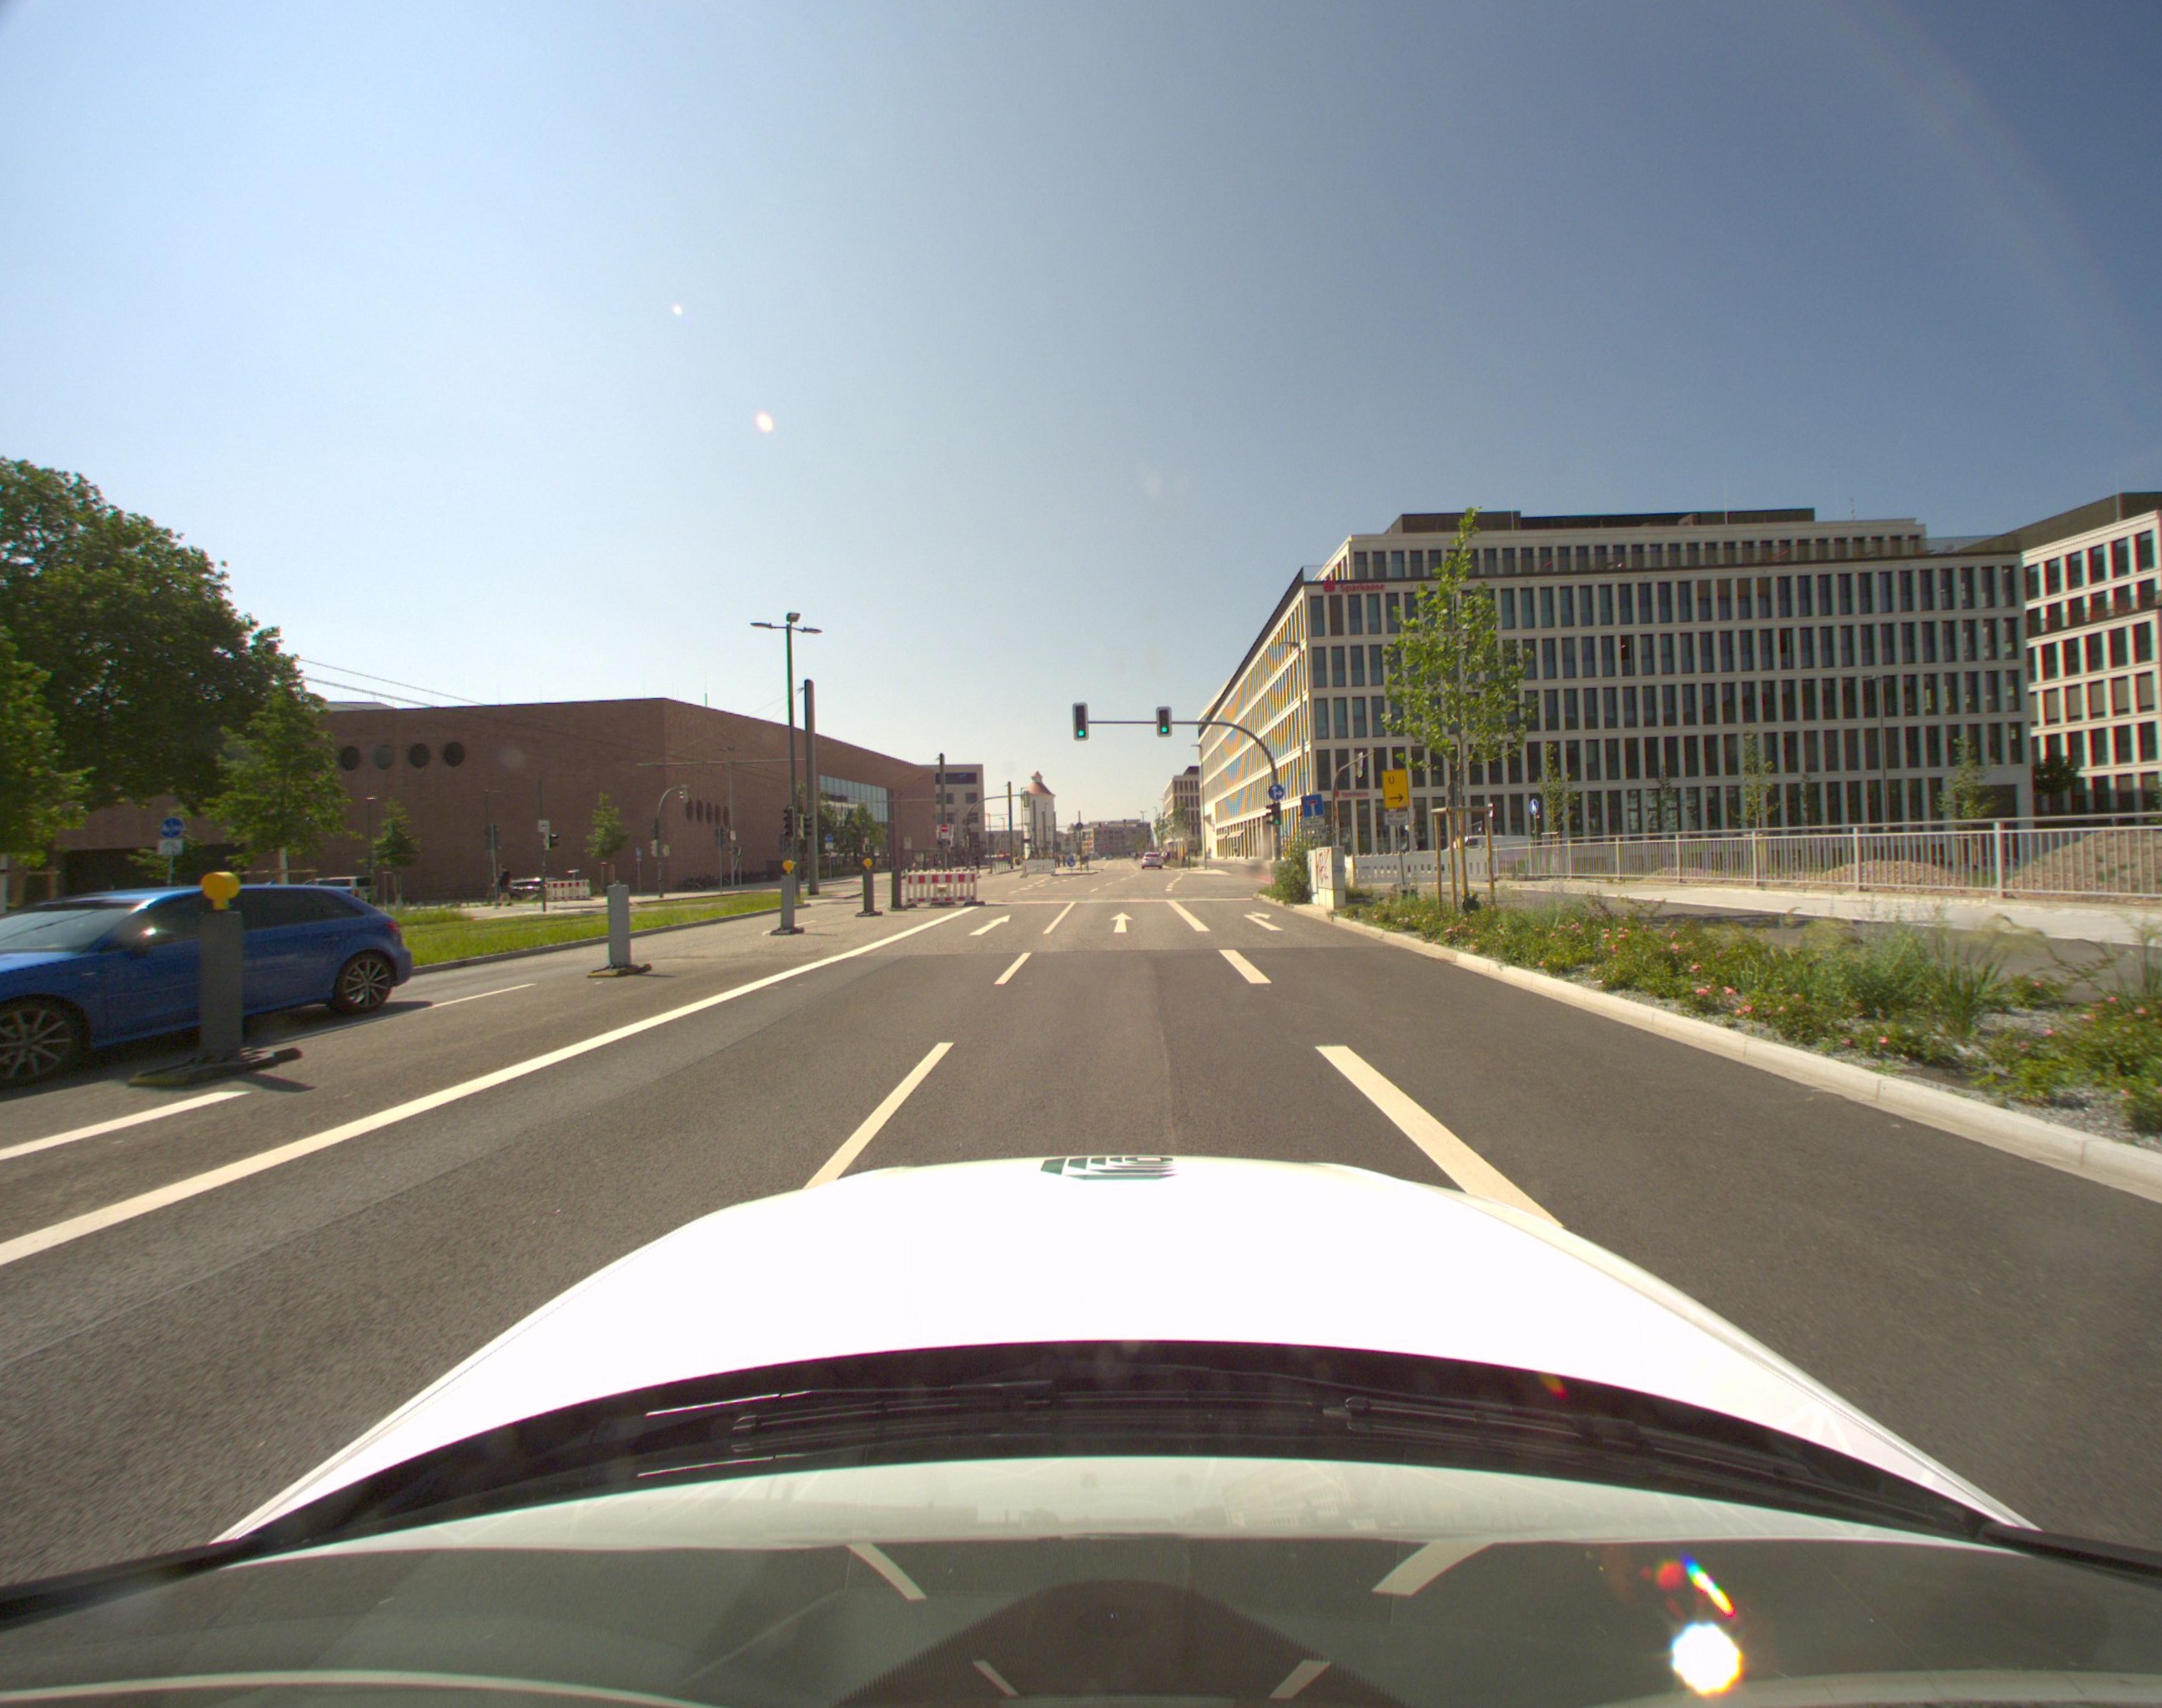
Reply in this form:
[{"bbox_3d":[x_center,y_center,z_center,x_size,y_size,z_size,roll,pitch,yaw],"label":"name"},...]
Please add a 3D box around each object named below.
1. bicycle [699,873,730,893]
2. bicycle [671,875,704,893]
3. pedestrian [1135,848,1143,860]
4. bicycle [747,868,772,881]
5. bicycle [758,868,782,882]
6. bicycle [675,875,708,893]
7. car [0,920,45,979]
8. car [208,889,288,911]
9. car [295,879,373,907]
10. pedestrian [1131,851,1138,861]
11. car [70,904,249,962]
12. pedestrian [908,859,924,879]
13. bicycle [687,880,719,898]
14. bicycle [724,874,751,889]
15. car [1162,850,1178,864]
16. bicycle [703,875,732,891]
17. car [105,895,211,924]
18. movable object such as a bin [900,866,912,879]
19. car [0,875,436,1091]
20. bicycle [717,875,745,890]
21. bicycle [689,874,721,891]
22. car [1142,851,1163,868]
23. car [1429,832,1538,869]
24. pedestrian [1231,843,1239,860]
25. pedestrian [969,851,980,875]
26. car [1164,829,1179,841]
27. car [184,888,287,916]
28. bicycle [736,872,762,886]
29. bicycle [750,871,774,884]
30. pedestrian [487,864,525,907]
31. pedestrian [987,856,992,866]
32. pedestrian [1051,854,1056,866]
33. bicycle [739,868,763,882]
[{"bbox_3d":[-28.228,2.201,62.713,2.050,1.453,0.538,-2,0,-9],"label":"bicycle"},{"bbox_3d":[-28.012,2.131,58.025,2.050,1.212,0.538,-1,0,-9],"label":"bicycle"},{"bbox_3d":[9.876,0.062,139.649,1.022,2.013,0.949,-2,0,-16],"label":"pedestrian"},{"bbox_3d":[-30.266,1.922,76.740,2.050,1.212,0.538,-2,0,-9],"label":"bicycle"},{"bbox_3d":[-30.039,2.032,78.767,2.050,1.212,0.538,-2,0,-9],"label":"bicycle"},{"bbox_3d":[-28.101,2.136,58.826,2.050,1.212,0.538,-2,0,-9],"label":"bicycle"},{"bbox_3d":[-34.576,3.010,24.474,1.691,1.761,3.943,-1,-1,3],"label":"car"},{"bbox_3d":[-54.687,3.022,53.505,3.484,1.321,1.713,-1,-1,1],"label":"car"},{"bbox_3d":[-48.904,2.546,53.358,3.528,1.689,1.695,-1,0,2],"label":"car"},{"bbox_3d":[9.157,0.316,138.726,0.895,1.674,1.008,-2,0,-16],"label":"pedestrian"},{"bbox_3d":[-34.353,2.888,30.559,1.691,1.761,4.304,-1,-1,3],"label":"car"},{"bbox_3d":[-13.337,1.215,65.820,0.936,1.562,0.785,-2,0,-34],"label":"pedestrian"},{"bbox_3d":[-28.096,2.594,60.568,2.050,1.212,0.538,-2,0,-9],"label":"bicycle"},{"bbox_3d":[-29.651,2.380,70.381,2.050,1.212,0.538,-2,0,-9],"label":"bicycle"},{"bbox_3d":[9.871,0.348,90.245,1.727,1.474,3.988,-2,-1,7],"label":"car"},{"bbox_3d":[-28.975,2.323,64.907,2.050,1.212,0.538,-2,0,-9],"label":"bicycle"},{"bbox_3d":[-51.461,3.081,45.460,3.965,1.403,2.004,-2,-1,7],"label":"car"},{"bbox_3d":[-14.024,1.496,65.356,0.718,1.031,0.785,-1,0,-33],"label":"movable object such as a bin"},{"bbox_3d":[-8.378,0.995,7.267,1.621,1.427,4.293,-3,0,3],"label":"car"},{"bbox_3d":[-29.322,2.369,68.189,2.050,1.212,0.538,-2,0,-9],"label":"bicycle"},{"bbox_3d":[-27.820,2.096,60.223,2.051,1.212,0.538,-2,0,-10],"label":"bicycle"},{"bbox_3d":[6.294,0.486,71.905,1.763,1.395,3.536,-1,-1,5],"label":"car"},{"bbox_3d":[25.362,-0.205,51.468,5.813,2.270,2.148,0,0,2],"label":"car"},{"bbox_3d":[15.513,-0.234,81.909,0.625,1.742,0.815,-2,0,3],"label":"pedestrian"},{"bbox_3d":[-8.425,0.725,64.556,0.649,1.833,0.662,-1,0,7],"label":"pedestrian"},{"bbox_3d":[10.594,-2.215,95.442,1.598,1.387,3.818,0,0,3],"label":"car"},{"bbox_3d":[-46.959,2.676,45.269,3.965,1.403,2.004,-2,-1,7],"label":"car"},{"bbox_3d":[-29.794,2.222,73.022,2.050,1.212,0.538,-2,0,-9],"label":"bicycle"},{"bbox_3d":[-30.448,2.263,77.809,2.050,1.212,0.538,-2,0,-9],"label":"bicycle"},{"bbox_3d":[-25.664,1.375,36.357,0.808,1.847,1.108,-2,0,4],"label":"pedestrian"},{"bbox_3d":[-15.017,1.197,133.974,0.708,1.571,0.891,-2,0,2],"label":"pedestrian"},{"bbox_3d":[-4.513,0.964,133.025,0.763,1.890,0.692,-2,0,3],"label":"pedestrian"},{"bbox_3d":[-30.043,1.939,74.168,1.880,1.212,0.746,-2,0,-5],"label":"bicycle"}]
